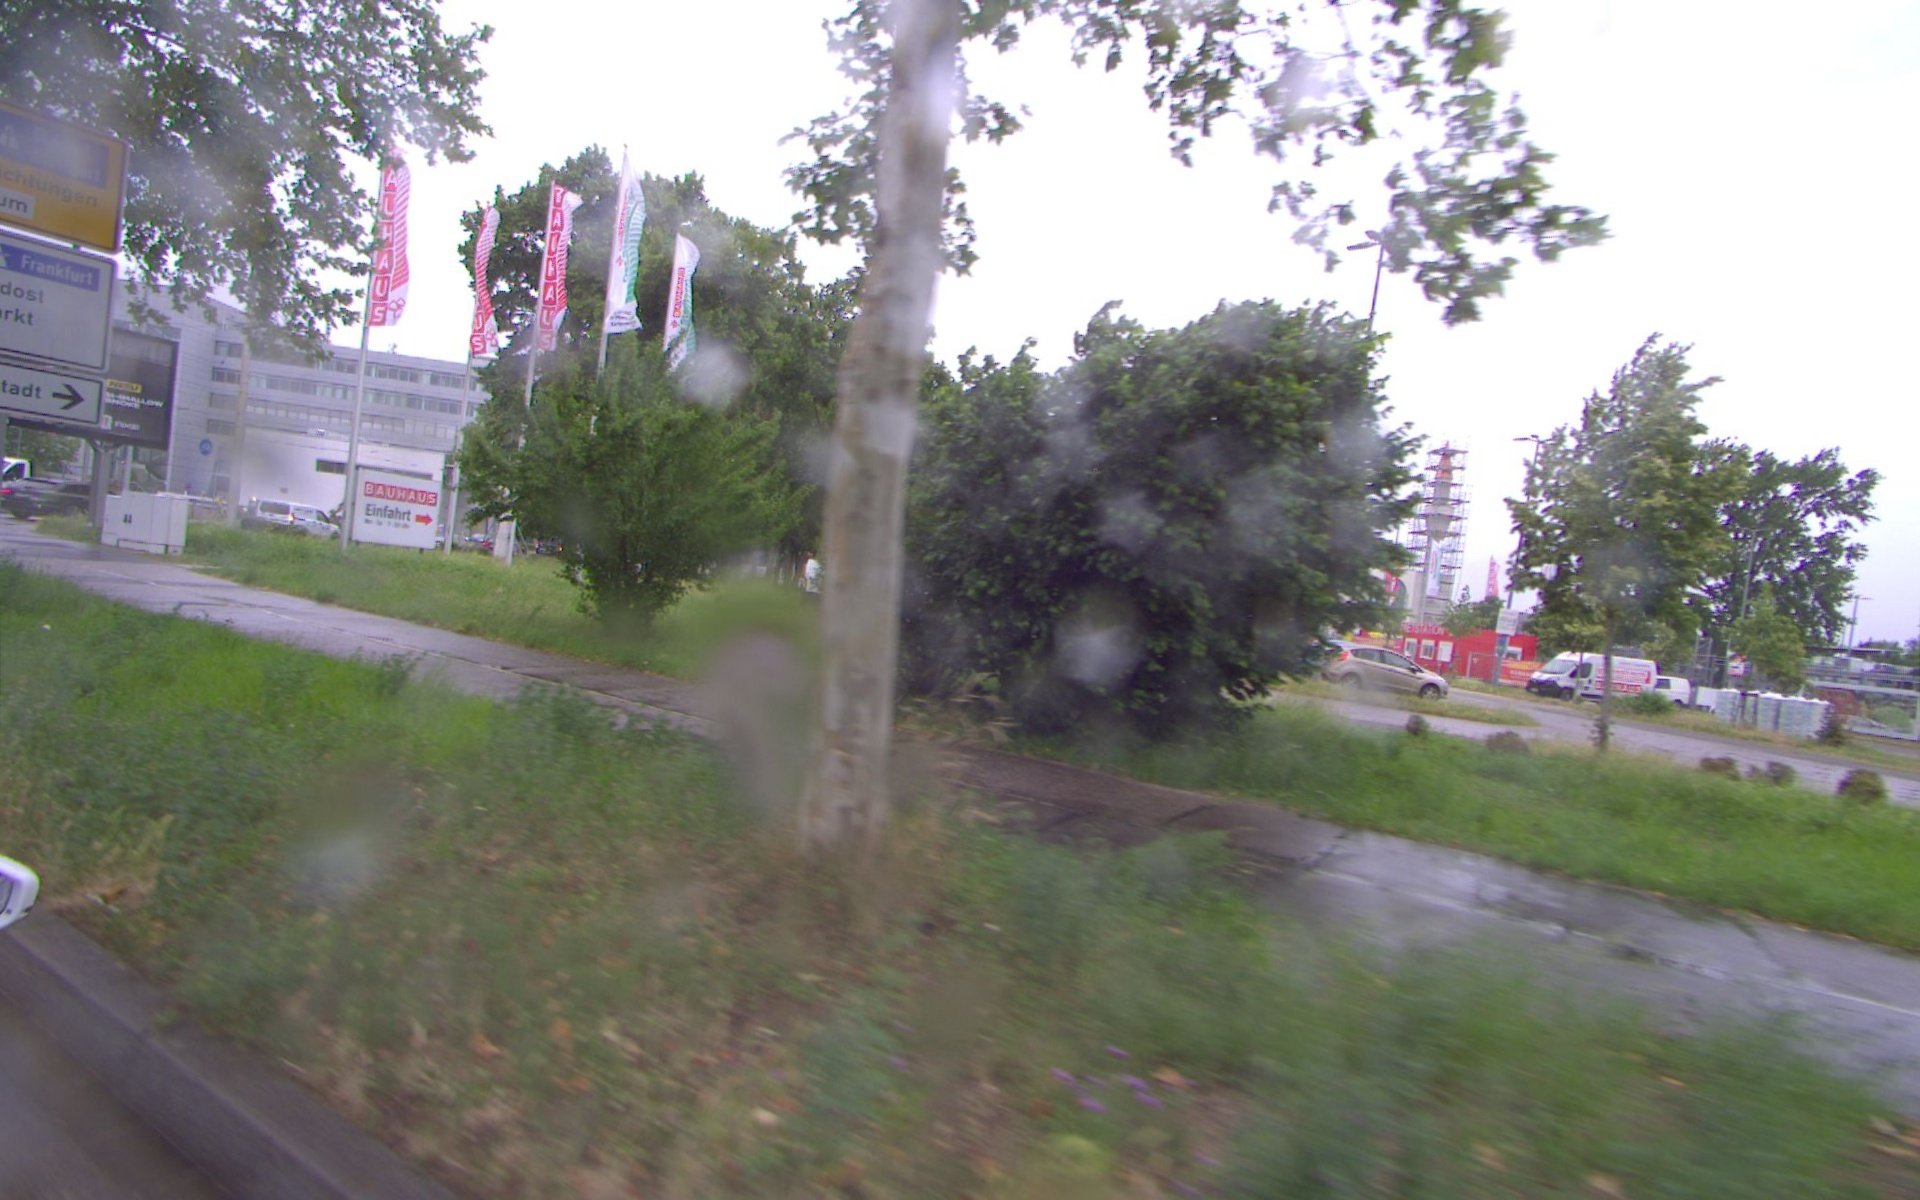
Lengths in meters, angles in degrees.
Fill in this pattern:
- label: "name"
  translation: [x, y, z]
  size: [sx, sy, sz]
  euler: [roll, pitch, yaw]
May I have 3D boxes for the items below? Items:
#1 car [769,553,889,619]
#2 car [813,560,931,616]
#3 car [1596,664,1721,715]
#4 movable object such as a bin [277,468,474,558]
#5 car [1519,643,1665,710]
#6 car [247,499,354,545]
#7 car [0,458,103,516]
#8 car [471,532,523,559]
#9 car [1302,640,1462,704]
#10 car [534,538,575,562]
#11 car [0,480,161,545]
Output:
- label: "car"
  translation: [-5.667, -0.588, 43.420]
  size: [4.833, 2.180, 1.803]
  euler: [7, 0, -9]
- label: "car"
  translation: [-5.265, -0.694, 60.537]
  size: [6.702, 2.464, 2.327]
  euler: [7, 0, -4]
- label: "car"
  translation: [40.421, 5.168, 58.326]
  size: [5.563, 2.168, 2.002]
  euler: [7, -1, 5]
- label: "movable object such as a bin"
  translation: [-59.229, -8.642, 102.684]
  size: [14.695, 6.356, 8.270]
  euler: [7, -1, -2]
- label: "car"
  translation: [29.341, 3.533, 46.770]
  size: [5.572, 2.362, 1.999]
  euler: [7, -1, -6]
- label: "car"
  translation: [-30.553, -3.572, 46.775]
  size: [1.768, 1.556, 4.387]
  euler: [7, 0, 3]
- label: "car"
  translation: [-41.597, -5.097, 45.576]
  size: [1.769, 2.220, 4.380]
  euler: [7, 2, -3]
- label: "car"
  translation: [-33.244, -3.889, 72.346]
  size: [1.769, 1.556, 4.384]
  euler: [7, 0, -4]
- label: "car"
  translation: [12.776, 2.154, 30.625]
  size: [3.928, 1.380, 2.000]
  euler: [7, -2, -3]
- label: "car"
  translation: [-33.722, -4.128, 83.724]
  size: [1.770, 1.556, 4.384]
  euler: [7, 0, -4]
- label: "car"
  translation: [-30.480, -2.973, 34.882]
  size: [1.768, 1.555, 4.389]
  euler: [7, -1, 3]
